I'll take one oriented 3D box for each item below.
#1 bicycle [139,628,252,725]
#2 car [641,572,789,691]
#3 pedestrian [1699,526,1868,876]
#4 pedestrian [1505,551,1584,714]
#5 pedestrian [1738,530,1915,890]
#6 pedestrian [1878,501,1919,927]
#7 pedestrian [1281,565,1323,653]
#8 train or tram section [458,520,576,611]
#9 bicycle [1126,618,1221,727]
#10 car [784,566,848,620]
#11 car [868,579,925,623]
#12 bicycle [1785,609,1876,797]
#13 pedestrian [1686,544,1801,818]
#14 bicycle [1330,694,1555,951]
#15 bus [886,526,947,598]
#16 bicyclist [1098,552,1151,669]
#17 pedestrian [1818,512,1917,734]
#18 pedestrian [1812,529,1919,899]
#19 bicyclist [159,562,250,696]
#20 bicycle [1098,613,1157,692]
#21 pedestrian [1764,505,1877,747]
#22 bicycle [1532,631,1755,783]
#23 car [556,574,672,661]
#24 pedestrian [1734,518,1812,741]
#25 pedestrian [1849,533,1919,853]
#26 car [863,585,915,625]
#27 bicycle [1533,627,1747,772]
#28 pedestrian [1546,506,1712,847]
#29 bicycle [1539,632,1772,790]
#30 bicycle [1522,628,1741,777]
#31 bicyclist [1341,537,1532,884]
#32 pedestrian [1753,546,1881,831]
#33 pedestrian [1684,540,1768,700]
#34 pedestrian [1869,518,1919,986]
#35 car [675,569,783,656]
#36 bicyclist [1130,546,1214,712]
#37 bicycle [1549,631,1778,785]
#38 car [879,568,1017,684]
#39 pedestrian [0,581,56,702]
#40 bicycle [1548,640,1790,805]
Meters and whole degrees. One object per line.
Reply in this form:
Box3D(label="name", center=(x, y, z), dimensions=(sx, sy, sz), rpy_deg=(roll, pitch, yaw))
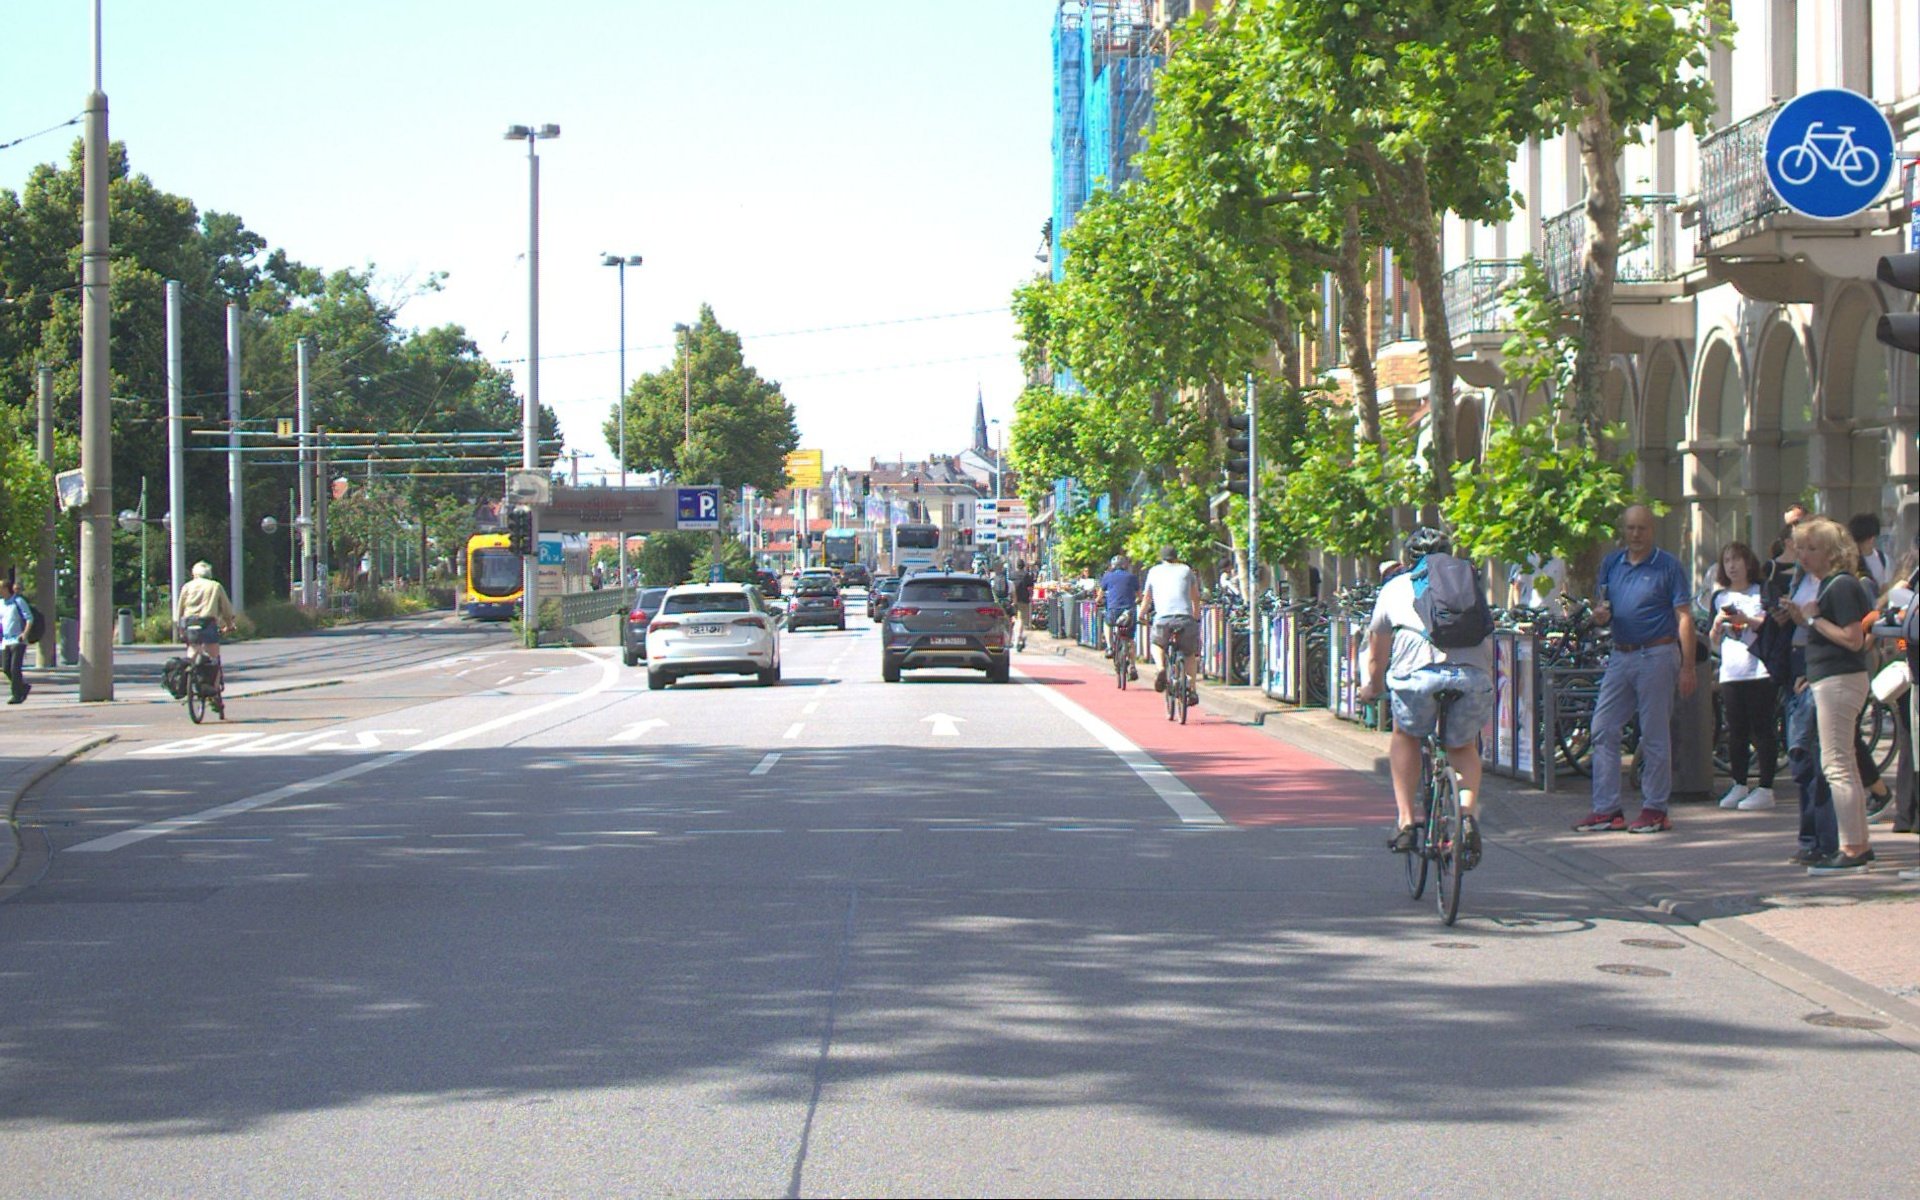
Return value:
Box3D(label="bicycle", center=(-8.595, 0.845, 38.719), dimensions=(0.677, 1.022, 1.967), rpy_deg=(0, 1, 5))
Box3D(label="car", center=(-3.440, 0.412, 48.877), dimensions=(1.845, 1.554, 4.000), rpy_deg=(-1, 1, -1))
Box3D(label="pedestrian", center=(4.126, 0.494, 17.257), dimensions=(0.582, 1.694, 0.605), rpy_deg=(-3, 0, -3))
Box3D(label="pedestrian", center=(5.992, 0.330, 35.262), dimensions=(0.675, 1.659, 0.612), rpy_deg=(0, 0, -2))
Box3D(label="pedestrian", center=(4.163, 0.520, 16.545), dimensions=(0.582, 1.668, 0.605), rpy_deg=(-3, 0, -3))
Box3D(label="pedestrian", center=(4.389, 0.487, 14.903), dimensions=(0.610, 1.817, 0.678), rpy_deg=(0, 0, -3))
Box3D(label="pedestrian", center=(6.157, 0.160, 61.863), dimensions=(0.675, 1.567, 0.612), rpy_deg=(0, 0, -2))
Box3D(label="train or tram section", center=(-16.940, -1.338, 132.159), dimensions=(2.613, 3.337, 11.001), rpy_deg=(0, 1, 3))
Box3D(label="bicycle", center=(2.133, 0.710, 34.556), dimensions=(0.774, 1.002, 2.329), rpy_deg=(-1, 1, -1))
Box3D(label="car", center=(-4.277, -0.224, 102.321), dimensions=(1.845, 1.554, 4.000), rpy_deg=(0, 1, -2))
Box3D(label="car", center=(-2.121, 0.020, 114.388), dimensions=(1.845, 1.409, 4.000), rpy_deg=(0, 1, -2))
Box3D(label="bicycle", center=(5.568, 0.643, 21.959), dimensions=(0.400, 1.110, 1.424), rpy_deg=(-1, 2, 20))
Box3D(label="pedestrian", center=(4.696, 0.474, 20.598), dimensions=(0.531, 1.589, 0.611), rpy_deg=(0, 3, 26))
Box3D(label="bicycle", center=(2.097, 0.944, 15.190), dimensions=(0.630, 0.976, 2.089), rpy_deg=(1, 0, -2))
Box3D(label="bus", center=(-2.285, -1.893, 176.688), dimensions=(2.994, 3.582, 11.745), rpy_deg=(0, 0, -2))
Box3D(label="bicyclist", center=(2.177, 0.134, 45.584), dimensions=(0.647, 1.545, 0.817), rpy_deg=(0, 1, -1))
Box3D(label="pedestrian", center=(7.381, 0.185, 27.979), dimensions=(0.628, 1.785, 0.612), rpy_deg=(0, 0, -1))
Box3D(label="pedestrian", center=(4.372, 0.509, 15.936), dimensions=(0.582, 1.668, 0.605), rpy_deg=(-3, 0, -3))
Box3D(label="bicyclist", center=(-8.534, 0.320, 38.868), dimensions=(0.738, 1.497, 1.052), rpy_deg=(0, 1, 4))
Box3D(label="bicycle", center=(2.204, 0.686, 45.498), dimensions=(0.647, 0.994, 2.031), rpy_deg=(0, 1, -1))
Box3D(label="pedestrian", center=(6.412, 0.191, 25.627), dimensions=(0.675, 1.785, 0.612), rpy_deg=(0, 0, -1))
Box3D(label="bicycle", center=(4.657, 0.725, 23.460), dimensions=(1.420, 0.976, 0.445), rpy_deg=(-1, 1, 0))
Box3D(label="car", center=(-6.345, 0.301, 63.329), dimensions=(1.845, 1.554, 4.000), rpy_deg=(0, 0, -2))
Box3D(label="pedestrian", center=(6.602, 0.236, 27.941), dimensions=(0.477, 1.785, 0.612), rpy_deg=(0, 0, -1))
Box3D(label="pedestrian", center=(5.279, 0.496, 18.561), dimensions=(0.610, 1.699, 0.678), rpy_deg=(1, -1, -29))
Box3D(label="car", center=(-2.581, 0.180, 124.805), dimensions=(1.845, 1.409, 4.000), rpy_deg=(0, 1, -2))
Box3D(label="bicycle", center=(4.821, 0.703, 24.389), dimensions=(1.420, 0.976, 0.401), rpy_deg=(-1, 1, 0))
Box3D(label="pedestrian", center=(3.812, 0.430, 19.584), dimensions=(0.688, 1.891, 0.611), rpy_deg=(-3, 0, 26))
Box3D(label="bicycle", center=(4.555, 0.726, 22.543), dimensions=(1.420, 0.976, 0.445), rpy_deg=(-1, 1, 0))
Box3D(label="bicycle", center=(4.672, 0.710, 23.953), dimensions=(1.420, 0.976, 0.445), rpy_deg=(-1, 1, 0))
Box3D(label="bicyclist", center=(2.100, 0.468, 15.276), dimensions=(0.630, 1.476, 1.198), rpy_deg=(1, 0, -2))
Box3D(label="pedestrian", center=(4.903, 0.501, 19.652), dimensions=(0.531, 1.590, 0.611), rpy_deg=(-3, -1, 26))
Box3D(label="pedestrian", center=(7.616, 0.195, 34.213), dimensions=(0.675, 1.567, 0.612), rpy_deg=(0, 0, -2))
Box3D(label="pedestrian", center=(3.813, 0.547, 12.645), dimensions=(0.610, 1.733, 0.678), rpy_deg=(-4, 0, -3))
Box3D(label="car", center=(-4.261, 0.215, 63.801), dimensions=(1.845, 1.554, 4.000), rpy_deg=(0, 0, -2))
Box3D(label="bicyclist", center=(2.126, 0.281, 34.532), dimensions=(0.774, 1.629, 0.851), rpy_deg=(-1, 1, -1))
Box3D(label="bicycle", center=(4.699, 0.718, 23.005), dimensions=(1.420, 0.976, 0.445), rpy_deg=(-1, 1, 0))
Box3D(label="car", center=(-0.216, 0.338, 49.328), dimensions=(1.845, 1.554, 4.000), rpy_deg=(0, 1, -2))
Box3D(label="pedestrian", center=(-12.625, 0.554, 46.237), dimensions=(0.771, 1.623, 0.612), rpy_deg=(0, 0, -1))
Box3D(label="bicycle", center=(4.472, 0.769, 21.720), dimensions=(1.420, 0.976, 0.445), rpy_deg=(-1, 1, 0))
